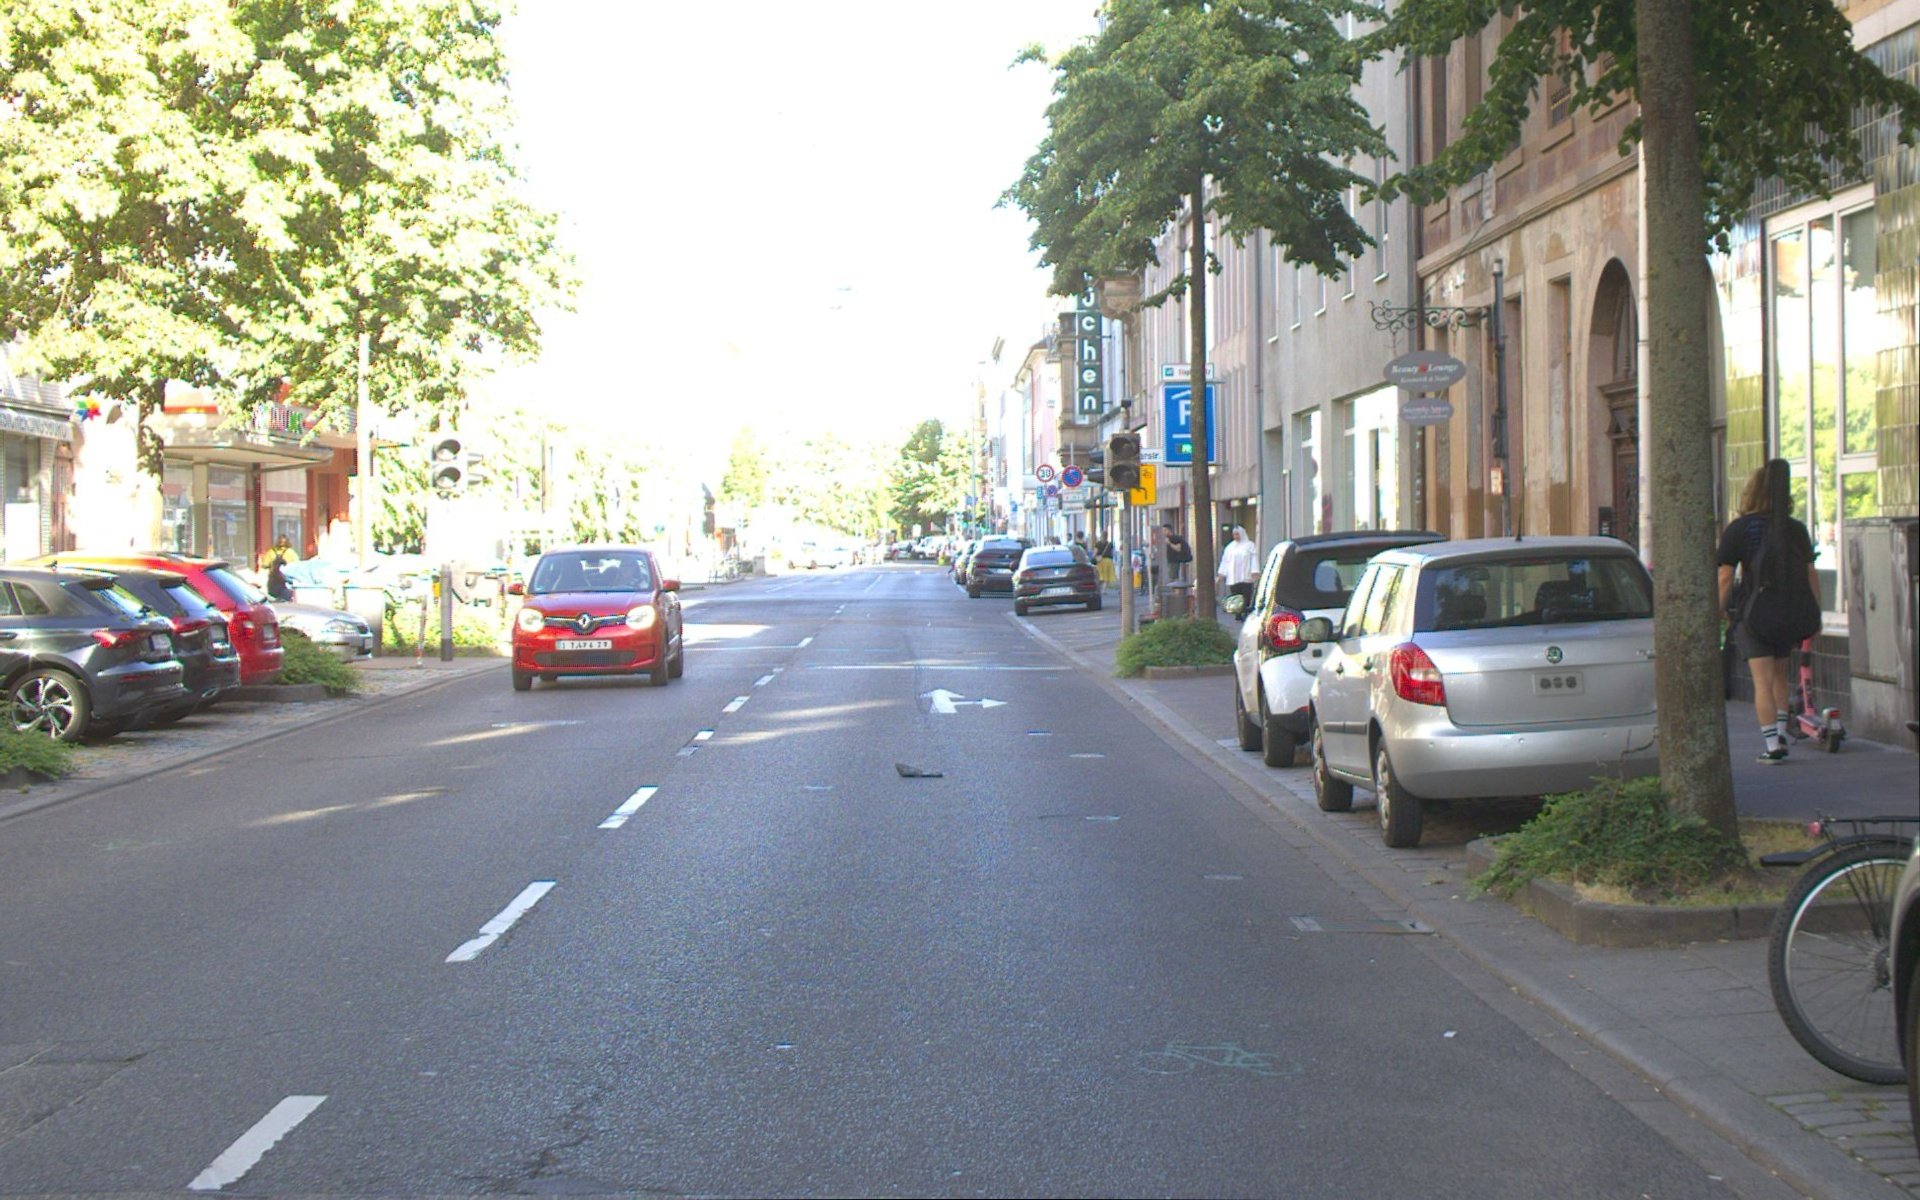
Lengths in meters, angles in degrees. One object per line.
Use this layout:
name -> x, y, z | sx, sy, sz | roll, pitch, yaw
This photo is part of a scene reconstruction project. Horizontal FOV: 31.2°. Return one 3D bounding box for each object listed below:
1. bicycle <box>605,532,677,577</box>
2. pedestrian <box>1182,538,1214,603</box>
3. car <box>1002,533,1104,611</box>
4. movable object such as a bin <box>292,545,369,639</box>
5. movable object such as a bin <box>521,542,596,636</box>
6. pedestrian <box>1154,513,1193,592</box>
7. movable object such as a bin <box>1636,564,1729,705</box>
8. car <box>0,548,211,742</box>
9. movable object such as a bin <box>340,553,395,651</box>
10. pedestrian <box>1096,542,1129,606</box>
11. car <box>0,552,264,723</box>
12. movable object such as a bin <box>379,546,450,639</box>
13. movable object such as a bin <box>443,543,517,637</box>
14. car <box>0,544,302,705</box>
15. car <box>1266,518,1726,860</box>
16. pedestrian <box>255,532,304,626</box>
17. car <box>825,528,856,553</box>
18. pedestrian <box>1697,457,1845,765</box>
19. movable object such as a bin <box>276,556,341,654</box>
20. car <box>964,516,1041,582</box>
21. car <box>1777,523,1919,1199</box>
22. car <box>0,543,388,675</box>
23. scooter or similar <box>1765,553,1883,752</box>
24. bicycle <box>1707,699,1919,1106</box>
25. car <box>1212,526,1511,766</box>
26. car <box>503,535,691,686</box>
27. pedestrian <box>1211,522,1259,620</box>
bicycle -> -14.444, -2.068, 155.688 | 3.122, 2.007, 0.908 | 0, 1, 9
pedestrian -> 3.885, -0.490, 56.133 | 0.393, 1.030, 0.740 | -3, 1, -2
car -> 1.973, -0.632, 74.055 | 1.917, 1.473, 4.965 | -4, 1, 0
movable object such as a bin -> -10.026, -0.133, 54.792 | 1.042, 1.466, 1.143 | -1, 1, -2
movable object such as a bin -> -6.400, -0.190, 54.884 | 1.042, 1.466, 1.453 | -1, 1, -2
pedestrian -> 4.523, -1.004, 72.892 | 0.691, 1.630, 0.889 | -3, 1, -1
movable object such as a bin -> 5.547, 0.257, 26.401 | 0.522, 1.036, 0.722 | -3, 1, 0
car -> -8.129, 0.326, 27.402 | 3.919, 1.480, 1.771 | 0, 1, 1
movable object such as a bin -> -8.224, 0.023, 47.736 | 0.634, 1.336, 0.805 | -1, 1, -2
pedestrian -> 4.065, -0.689, 91.702 | 0.801, 1.669, 0.589 | -2, 1, 2
car -> -8.213, 0.301, 30.132 | 3.841, 1.424, 1.789 | 0, 1, 1
movable object such as a bin -> -8.705, -0.123, 54.881 | 0.964, 1.466, 1.143 | -1, 1, -2
movable object such as a bin -> -7.661, -0.168, 54.901 | 1.042, 1.466, 1.143 | -1, 1, -2
car -> -8.290, 0.212, 32.700 | 3.748, 1.463, 1.740 | 0, 1, -1
car -> 2.734, 0.383, 18.435 | 1.613, 1.523, 4.235 | -4, 1, -2
pedestrian -> -12.045, -0.383, 60.886 | 0.665, 1.653, 1.037 | 0, 1, -1
car -> -8.512, -4.248, 245.025 | 1.993, 1.765, 4.000 | 1, 2, 1
pedestrian -> 4.785, 0.060, 20.321 | 0.623, 1.759, 0.771 | -3, 1, 0
movable object such as a bin -> -9.020, 0.064, 47.631 | 0.754, 1.336, 0.805 | -1, 1, -2
car -> 1.125, -1.411, 93.658 | 1.973, 1.719, 4.824 | 1, 1, -1
car -> 2.972, 0.591, 6.107 | 1.883, 1.521, 4.234 | -3, 1, -1
car -> -8.908, 0.084, 39.963 | 4.203, 1.463, 1.739 | 0, 1, 2
scooter or similar -> 5.377, 0.309, 21.437 | 0.399, 1.183, 1.168 | -3, 1, 0
bicycle -> 2.985, 0.775, 9.511 | 1.622, 1.009, 0.611 | -5, 1, -2
car -> 2.765, 0.278, 24.228 | 1.613, 1.523, 3.061 | -2, 1, -2
car -> -3.943, 0.071, 37.876 | 1.658, 1.530, 3.761 | -2, 1, 0
pedestrian -> 4.489, -0.475, 56.182 | 0.580, 1.554, 1.021 | -3, 1, -2
